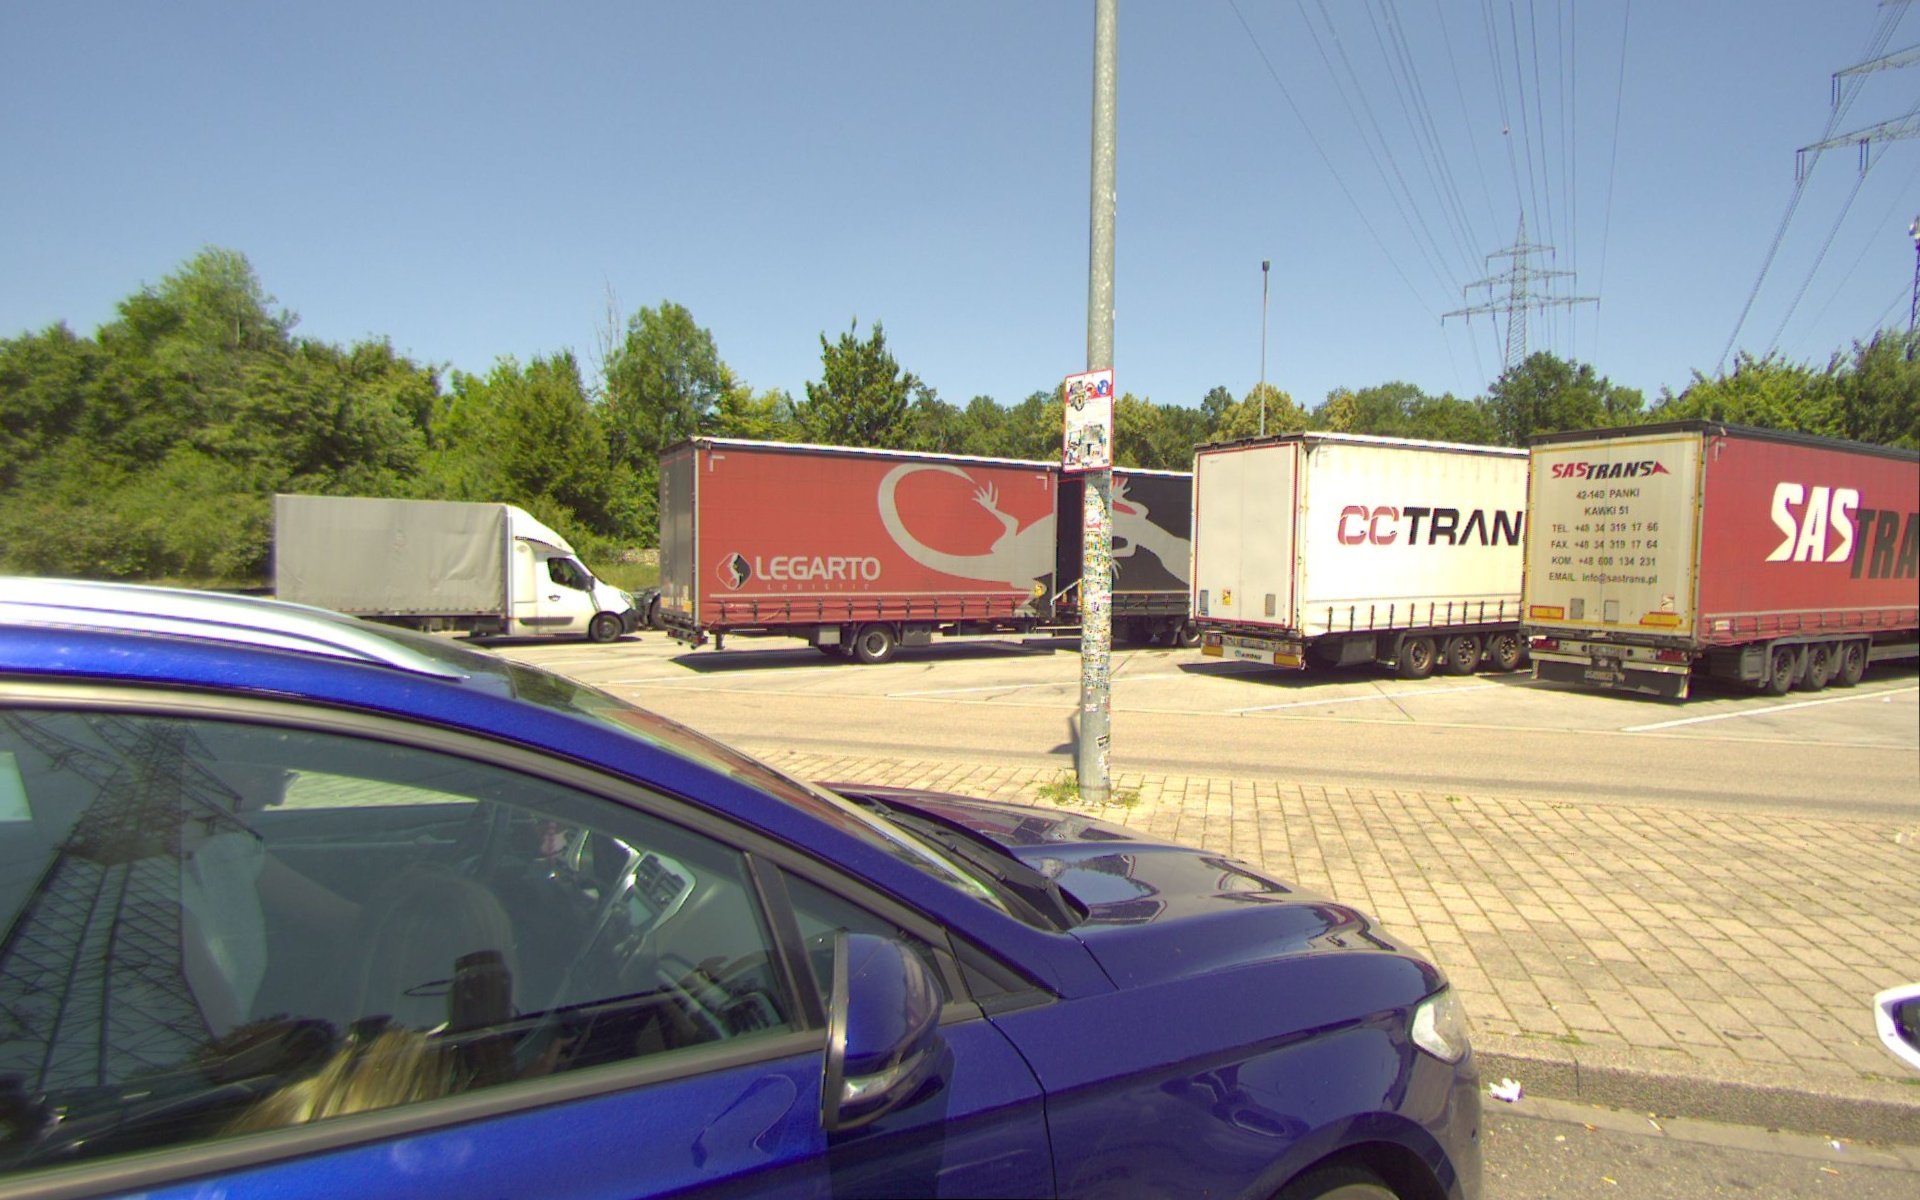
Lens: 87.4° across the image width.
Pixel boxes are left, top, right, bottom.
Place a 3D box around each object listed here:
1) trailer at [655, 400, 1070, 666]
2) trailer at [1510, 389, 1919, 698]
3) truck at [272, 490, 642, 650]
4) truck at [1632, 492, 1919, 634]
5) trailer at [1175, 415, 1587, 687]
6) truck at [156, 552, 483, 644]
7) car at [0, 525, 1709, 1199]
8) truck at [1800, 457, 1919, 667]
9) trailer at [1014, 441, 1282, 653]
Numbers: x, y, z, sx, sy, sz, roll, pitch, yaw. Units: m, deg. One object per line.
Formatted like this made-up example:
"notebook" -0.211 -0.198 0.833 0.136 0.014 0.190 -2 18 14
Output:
"trailer" -1.792 -1.114 20.220 7.963 4.510 2.648 0 0 -31
"trailer" 15.265 -0.753 18.424 13.046 4.276 2.786 0 0 -31
"truck" -11.118 -0.579 22.749 7.171 3.194 2.160 0 1 -30
"truck" 26.574 -1.119 30.568 9.851 4.087 2.242 2 1 14
"trailer" 8.073 -0.757 18.840 8.189 4.208 2.741 0 1 -30
"truck" -15.388 -0.029 24.664 6.538 2.040 1.984 0 0 -30
"car" -0.945 0.665 1.484 4.362 1.437 1.731 1 0 -30
"truck" 21.449 -0.746 22.059 5.824 4.189 2.792 0 0 -30
"trailer" 4.553 -1.122 24.088 6.076 4.505 2.665 0 0 -30
